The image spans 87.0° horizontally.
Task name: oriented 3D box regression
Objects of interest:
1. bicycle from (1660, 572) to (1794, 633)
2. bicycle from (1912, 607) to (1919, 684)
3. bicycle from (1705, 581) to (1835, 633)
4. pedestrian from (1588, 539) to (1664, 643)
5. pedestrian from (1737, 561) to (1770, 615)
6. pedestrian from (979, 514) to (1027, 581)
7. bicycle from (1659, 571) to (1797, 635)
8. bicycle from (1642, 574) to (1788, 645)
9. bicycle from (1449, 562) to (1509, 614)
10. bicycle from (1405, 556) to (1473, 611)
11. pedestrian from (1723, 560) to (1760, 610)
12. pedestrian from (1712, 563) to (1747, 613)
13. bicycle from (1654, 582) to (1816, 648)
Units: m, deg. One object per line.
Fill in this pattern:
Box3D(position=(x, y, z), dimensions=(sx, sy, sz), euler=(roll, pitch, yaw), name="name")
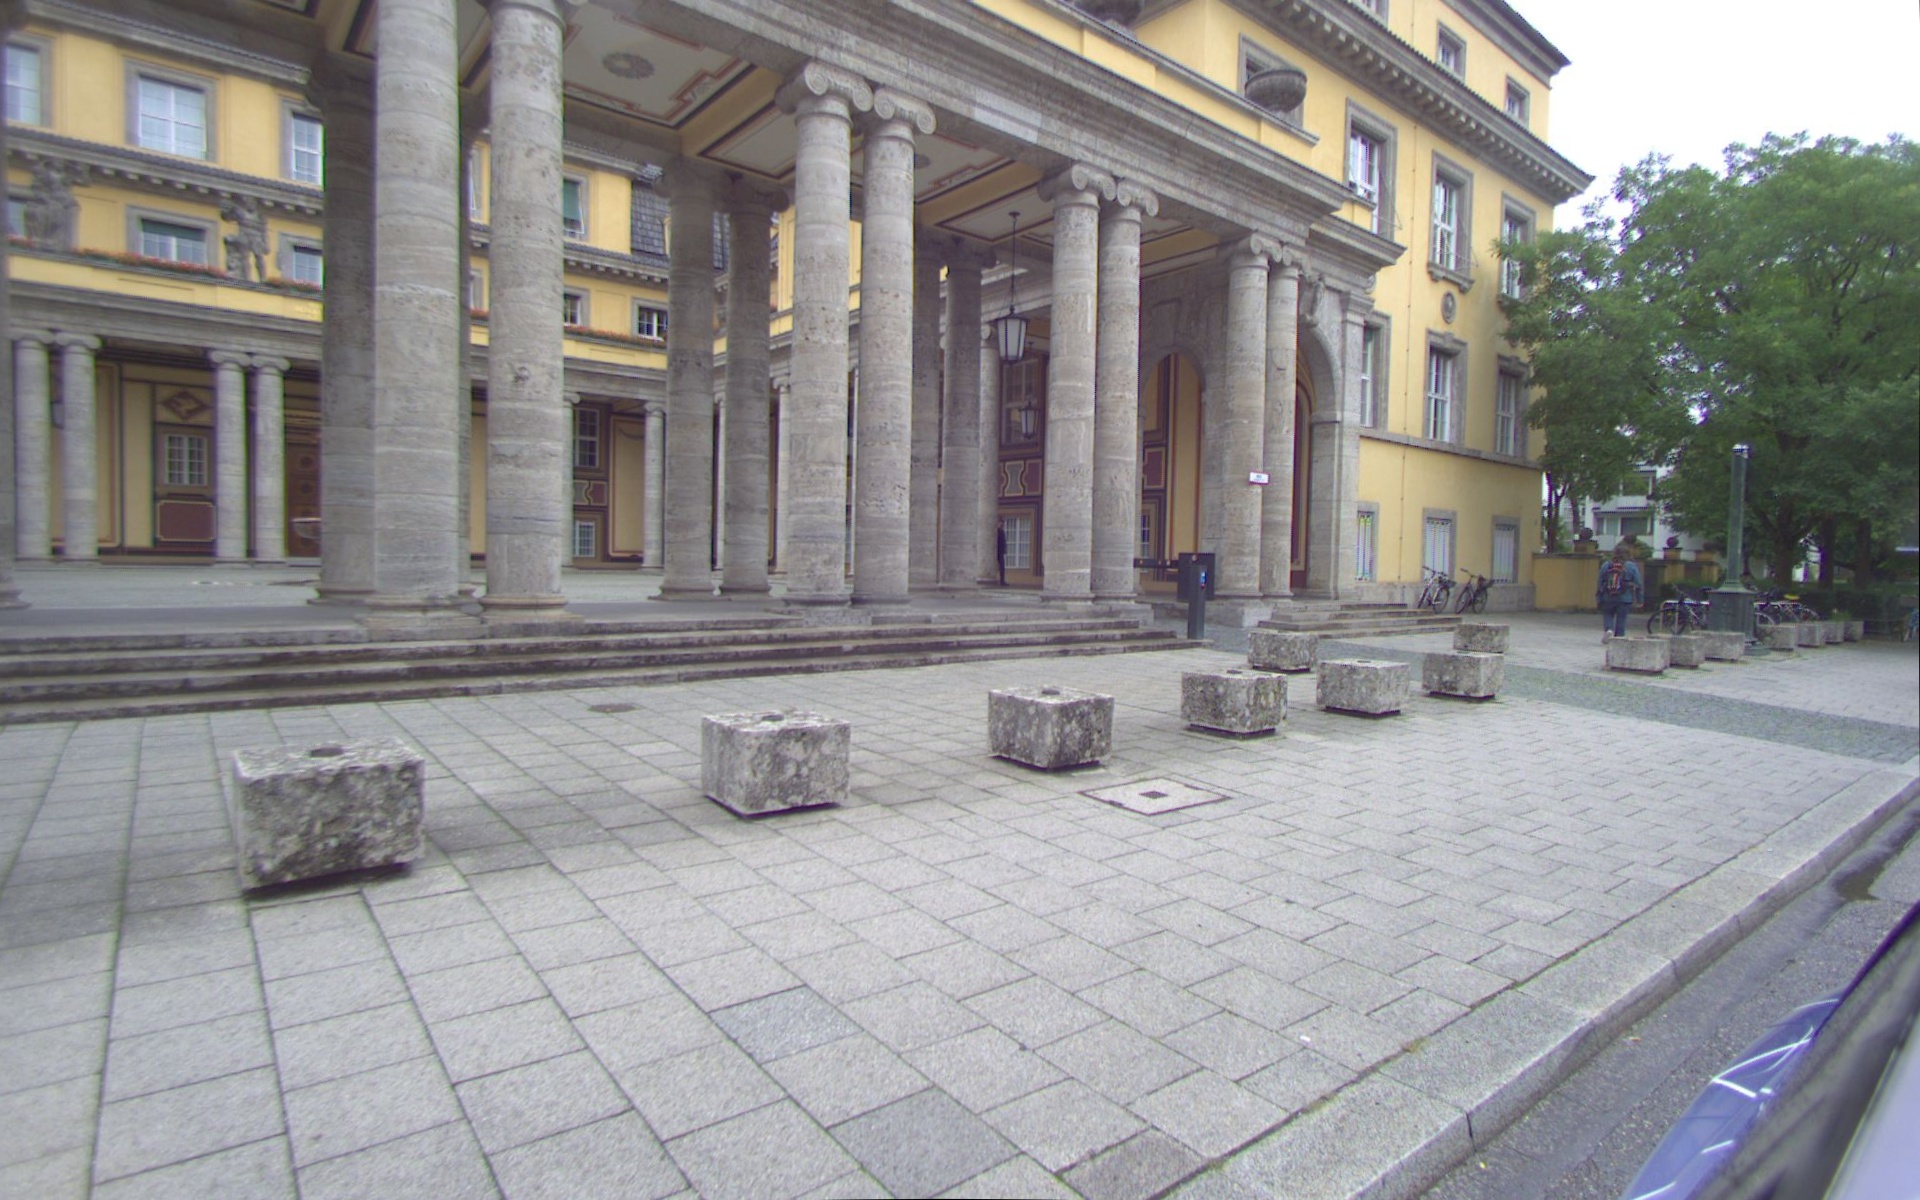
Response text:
Box3D(position=(17.129, 0.028, 22.648), dimensions=(2.257, 1.035, 0.593), euler=(10, 8, 40), name="bicycle")
Box3D(position=(14.063, 0.595, 14.162), dimensions=(2.224, 1.113, 0.762), euler=(-1, 5, -40), name="bicycle")
Box3D(position=(18.959, 0.138, 23.747), dimensions=(0.590, 1.023, 2.265), euler=(1, 4, -36), name="bicycle")
Box3D(position=(11.836, -0.175, 17.977), dimensions=(1.037, 1.767, 0.790), euler=(-1, 3, -40), name="pedestrian")
Box3D(position=(28.738, -0.447, 36.651), dimensions=(0.806, 1.887, 0.659), euler=(-1, 6, -39), name="pedestrian")
Box3D(position=(1.159, -1.407, 27.273), dimensions=(0.967, 1.742, 0.805), euler=(-1, 0, -41), name="pedestrian")
Box3D(position=(16.580, 0.042, 21.900), dimensions=(2.257, 1.071, 0.593), euler=(10, 8, 40), name="bicycle")
Box3D(position=(15.345, 0.164, 20.628), dimensions=(2.257, 1.107, 0.593), euler=(10, 8, 40), name="bicycle")
Box3D(position=(13.856, -0.343, 26.980), dimensions=(2.127, 1.323, 0.601), euler=(-1, 3, -40), name="bicycle")
Box3D(position=(12.078, -0.432, 25.495), dimensions=(2.224, 1.323, 0.601), euler=(-1, 3, -40), name="bicycle")
Box3D(position=(30.420, -0.600, 39.392), dimensions=(1.017, 1.887, 0.783), euler=(-1, 6, -40), name="pedestrian")
Box3D(position=(28.292, -0.449, 37.215), dimensions=(0.826, 1.764, 0.741), euler=(-1, 6, -39), name="pedestrian")
Box3D(position=(14.826, 0.256, 19.429), dimensions=(2.363, 1.018, 0.667), euler=(7, 5, 42), name="bicycle")
